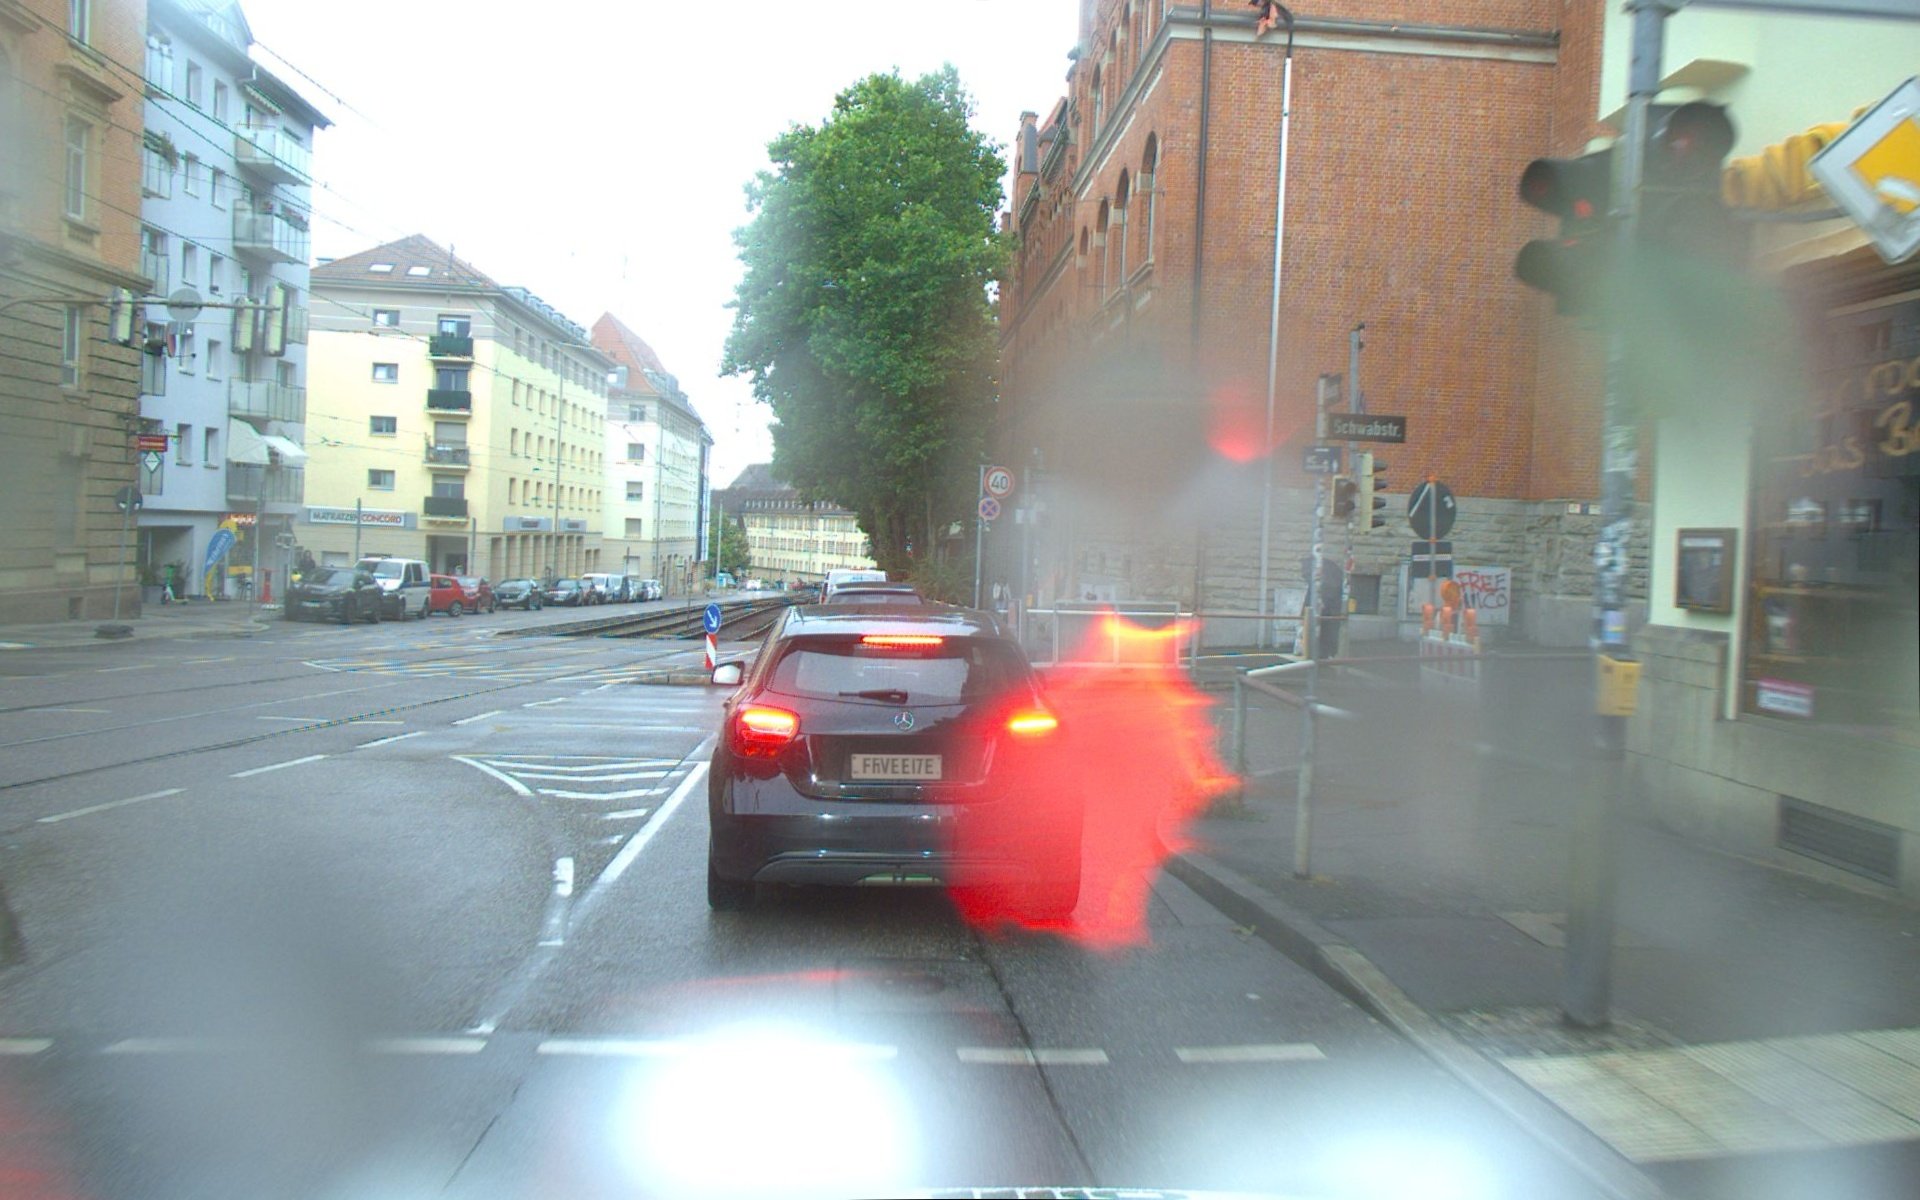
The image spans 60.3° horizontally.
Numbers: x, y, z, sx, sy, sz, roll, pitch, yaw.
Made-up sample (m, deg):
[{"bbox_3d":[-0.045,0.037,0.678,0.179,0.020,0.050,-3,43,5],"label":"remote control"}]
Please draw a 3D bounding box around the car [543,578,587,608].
[{"bbox_3d":[-20.932,-0.373,87.816,1.817,1.534,4.981,2,0,-9],"label":"car"}]

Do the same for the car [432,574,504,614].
[{"bbox_3d":[-19.405,-0.233,65.414,1.620,1.477,4.073,2,0,-1],"label":"car"}]

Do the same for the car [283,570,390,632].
[{"bbox_3d":[-18.259,0.013,48.642,1.699,1.679,4.360,2,0,-4],"label":"car"}]

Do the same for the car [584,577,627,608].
[{"bbox_3d":[-21.313,-0.450,99.586,1.830,1.747,4.457,2,0,-3],"label":"car"}]

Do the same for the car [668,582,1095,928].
[{"bbox_3d":[-0.477,0.669,9.053,1.759,1.399,3.996,3,0,-5],"label":"car"}]

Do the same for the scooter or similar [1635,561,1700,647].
[{"bbox_3d":[12.646,0.058,29.592,0.400,1.443,1.517,1,3,-3],"label":"scooter or similar"}]

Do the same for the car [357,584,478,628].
[{"bbox_3d":[-19.439,0.235,59.394,1.747,1.459,3.974,2,0,30],"label":"car"}]

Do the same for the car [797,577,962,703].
[{"bbox_3d":[-1.194,0.492,22.543,1.896,1.478,4.311,3,0,-7],"label":"car"}]

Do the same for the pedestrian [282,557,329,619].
[{"bbox_3d":[-21.312,-0.391,53.907,1.151,1.962,1.175,2,0,-11],"label":"pedestrian"}]

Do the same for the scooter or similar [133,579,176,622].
[{"bbox_3d":[-23.818,0.011,48.933,1.071,1.231,0.315,-2,0,-15],"label":"scooter or similar"}]

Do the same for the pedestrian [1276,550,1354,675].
[{"bbox_3d":[5.533,0.187,25.832,0.939,1.920,1.072,0,0,-4],"label":"pedestrian"}]

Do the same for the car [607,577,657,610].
[{"bbox_3d":[-20.832,-0.417,105.272,1.953,1.938,5.459,3,0,0],"label":"car"}]

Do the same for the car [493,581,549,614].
[{"bbox_3d":[-19.768,-0.111,74.647,1.647,1.420,4.617,2,0,-5],"label":"car"}]

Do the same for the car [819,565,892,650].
[{"bbox_3d":[-2.736,0.188,42.754,1.707,2.049,3.899,2,0,-5],"label":"car"}]

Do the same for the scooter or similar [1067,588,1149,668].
[{"bbox_3d":[2.423,0.445,27.038,1.220,1.272,0.638,0,0,18],"label":"scooter or similar"}]

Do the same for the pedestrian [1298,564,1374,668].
[{"bbox_3d":[6.088,0.251,26.840,0.939,1.654,1.072,0,0,-4],"label":"pedestrian"}]

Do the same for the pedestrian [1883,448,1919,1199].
[{"bbox_3d":[2.647,0.529,3.346,0.996,1.750,0.930,-1,0,-2],"label":"pedestrian"}]

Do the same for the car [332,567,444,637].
[{"bbox_3d":[-18.822,0.022,54.679,2.029,2.043,5.298,5,0,-4],"label":"car"}]

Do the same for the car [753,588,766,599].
[{"bbox_3d":[-28.386,-0.937,233.814,1.678,1.488,4.276,1,0,-5],"label":"car"}]

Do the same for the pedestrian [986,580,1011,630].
[{"bbox_3d":[1.353,0.176,58.489,0.806,1.708,0.859,2,0,-1],"label":"pedestrian"}]

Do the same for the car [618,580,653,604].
[{"bbox_3d":[-22.546,-0.590,115.032,1.778,1.525,4.579,3,0,-4],"label":"car"}]
